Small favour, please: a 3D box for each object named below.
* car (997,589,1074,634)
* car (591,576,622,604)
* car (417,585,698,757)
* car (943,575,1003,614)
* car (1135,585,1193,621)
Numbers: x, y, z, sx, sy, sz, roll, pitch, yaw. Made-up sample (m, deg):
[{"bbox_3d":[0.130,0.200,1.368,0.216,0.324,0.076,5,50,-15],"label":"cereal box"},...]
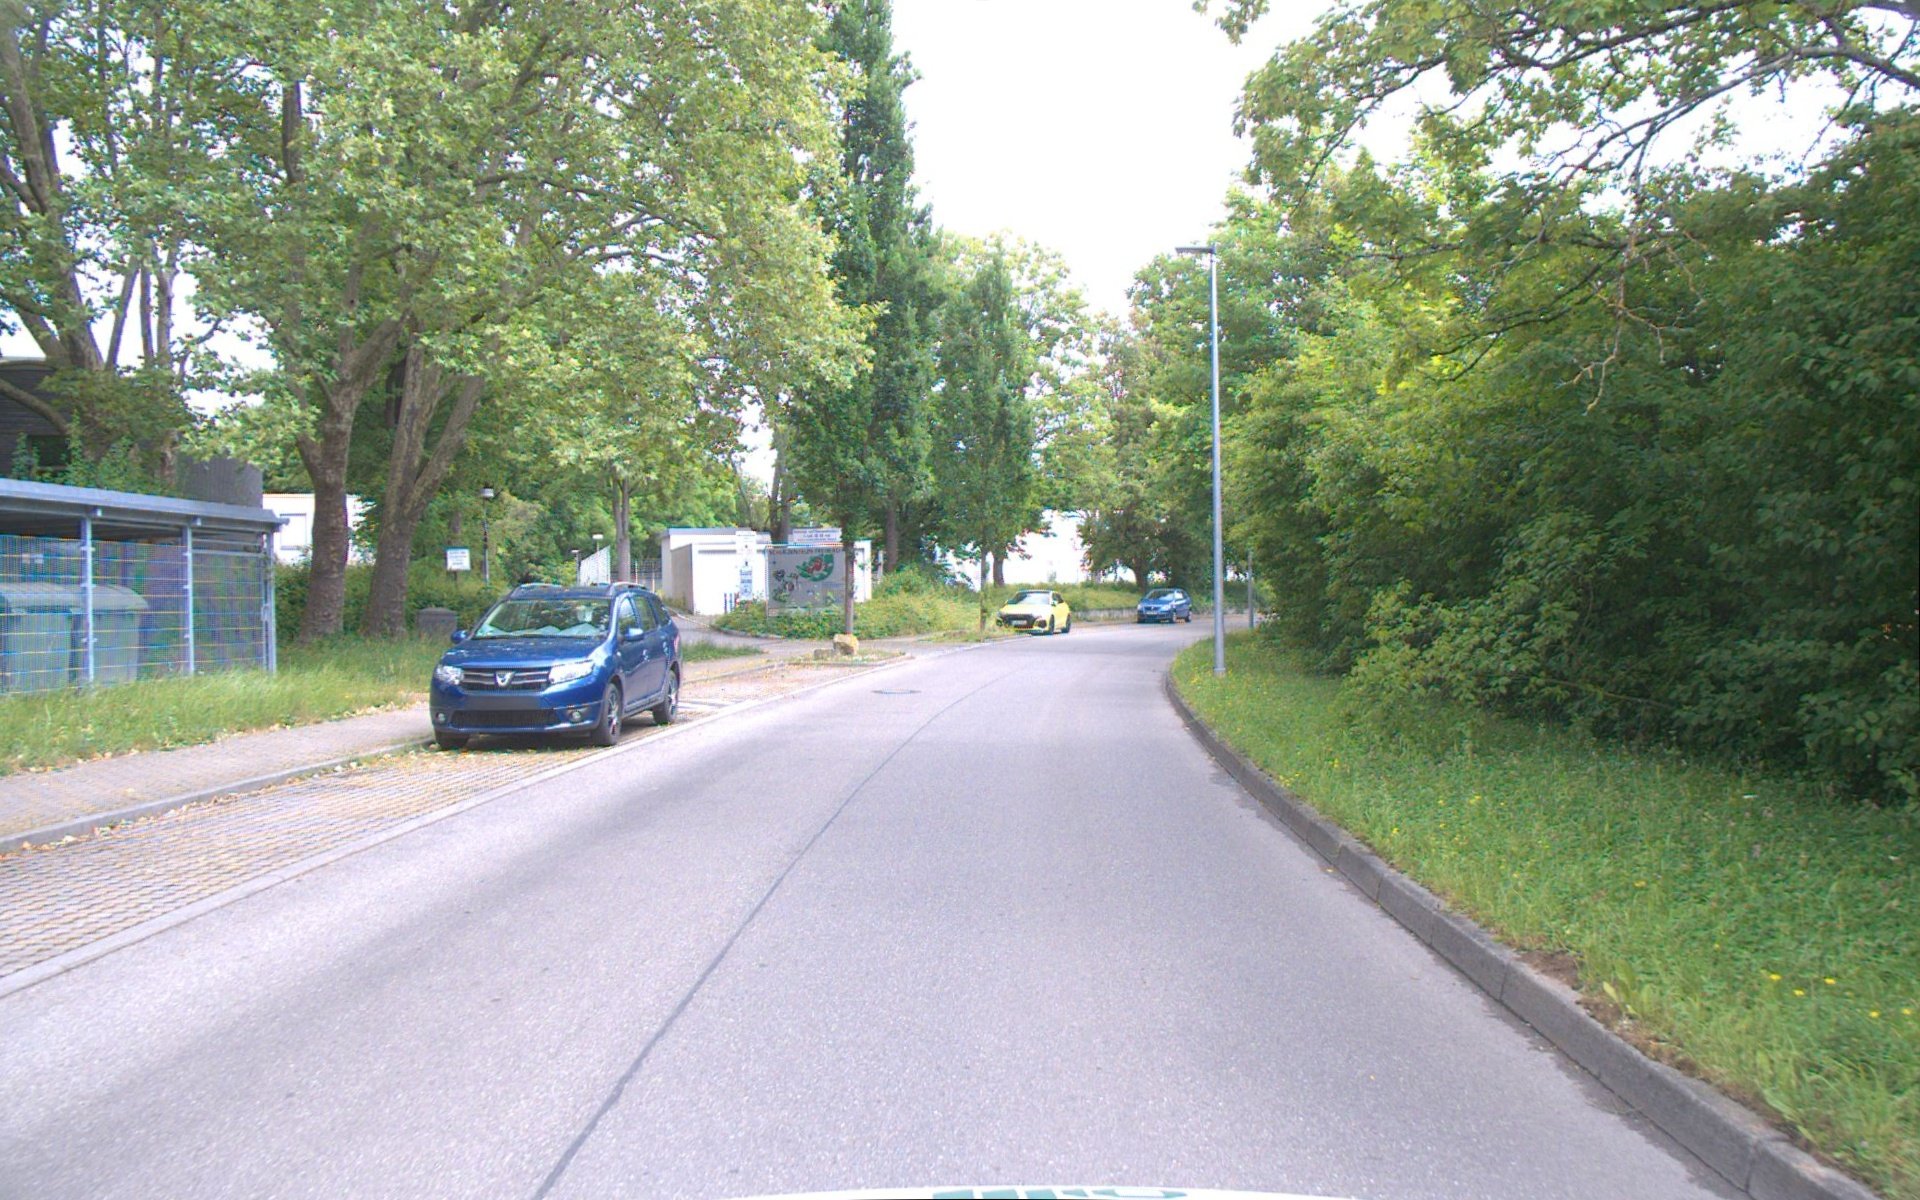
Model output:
[{"bbox_3d":[2.538,0.375,54.737,1.664,1.427,4.276,0,0,15],"label":"car"},{"bbox_3d":[-24.080,-0.692,112.691,1.838,1.776,3.991,-2,1,-9],"label":"car"},{"bbox_3d":[-3.977,0.625,17.106,1.645,1.538,4.433,-1,0,2],"label":"car"},{"bbox_3d":[0.561,-0.256,74.855,1.712,1.650,3.858,-2,1,-15],"label":"car"},{"bbox_3d":[8.847,0.105,71.620,1.502,1.484,3.719,0,0,23],"label":"car"}]
